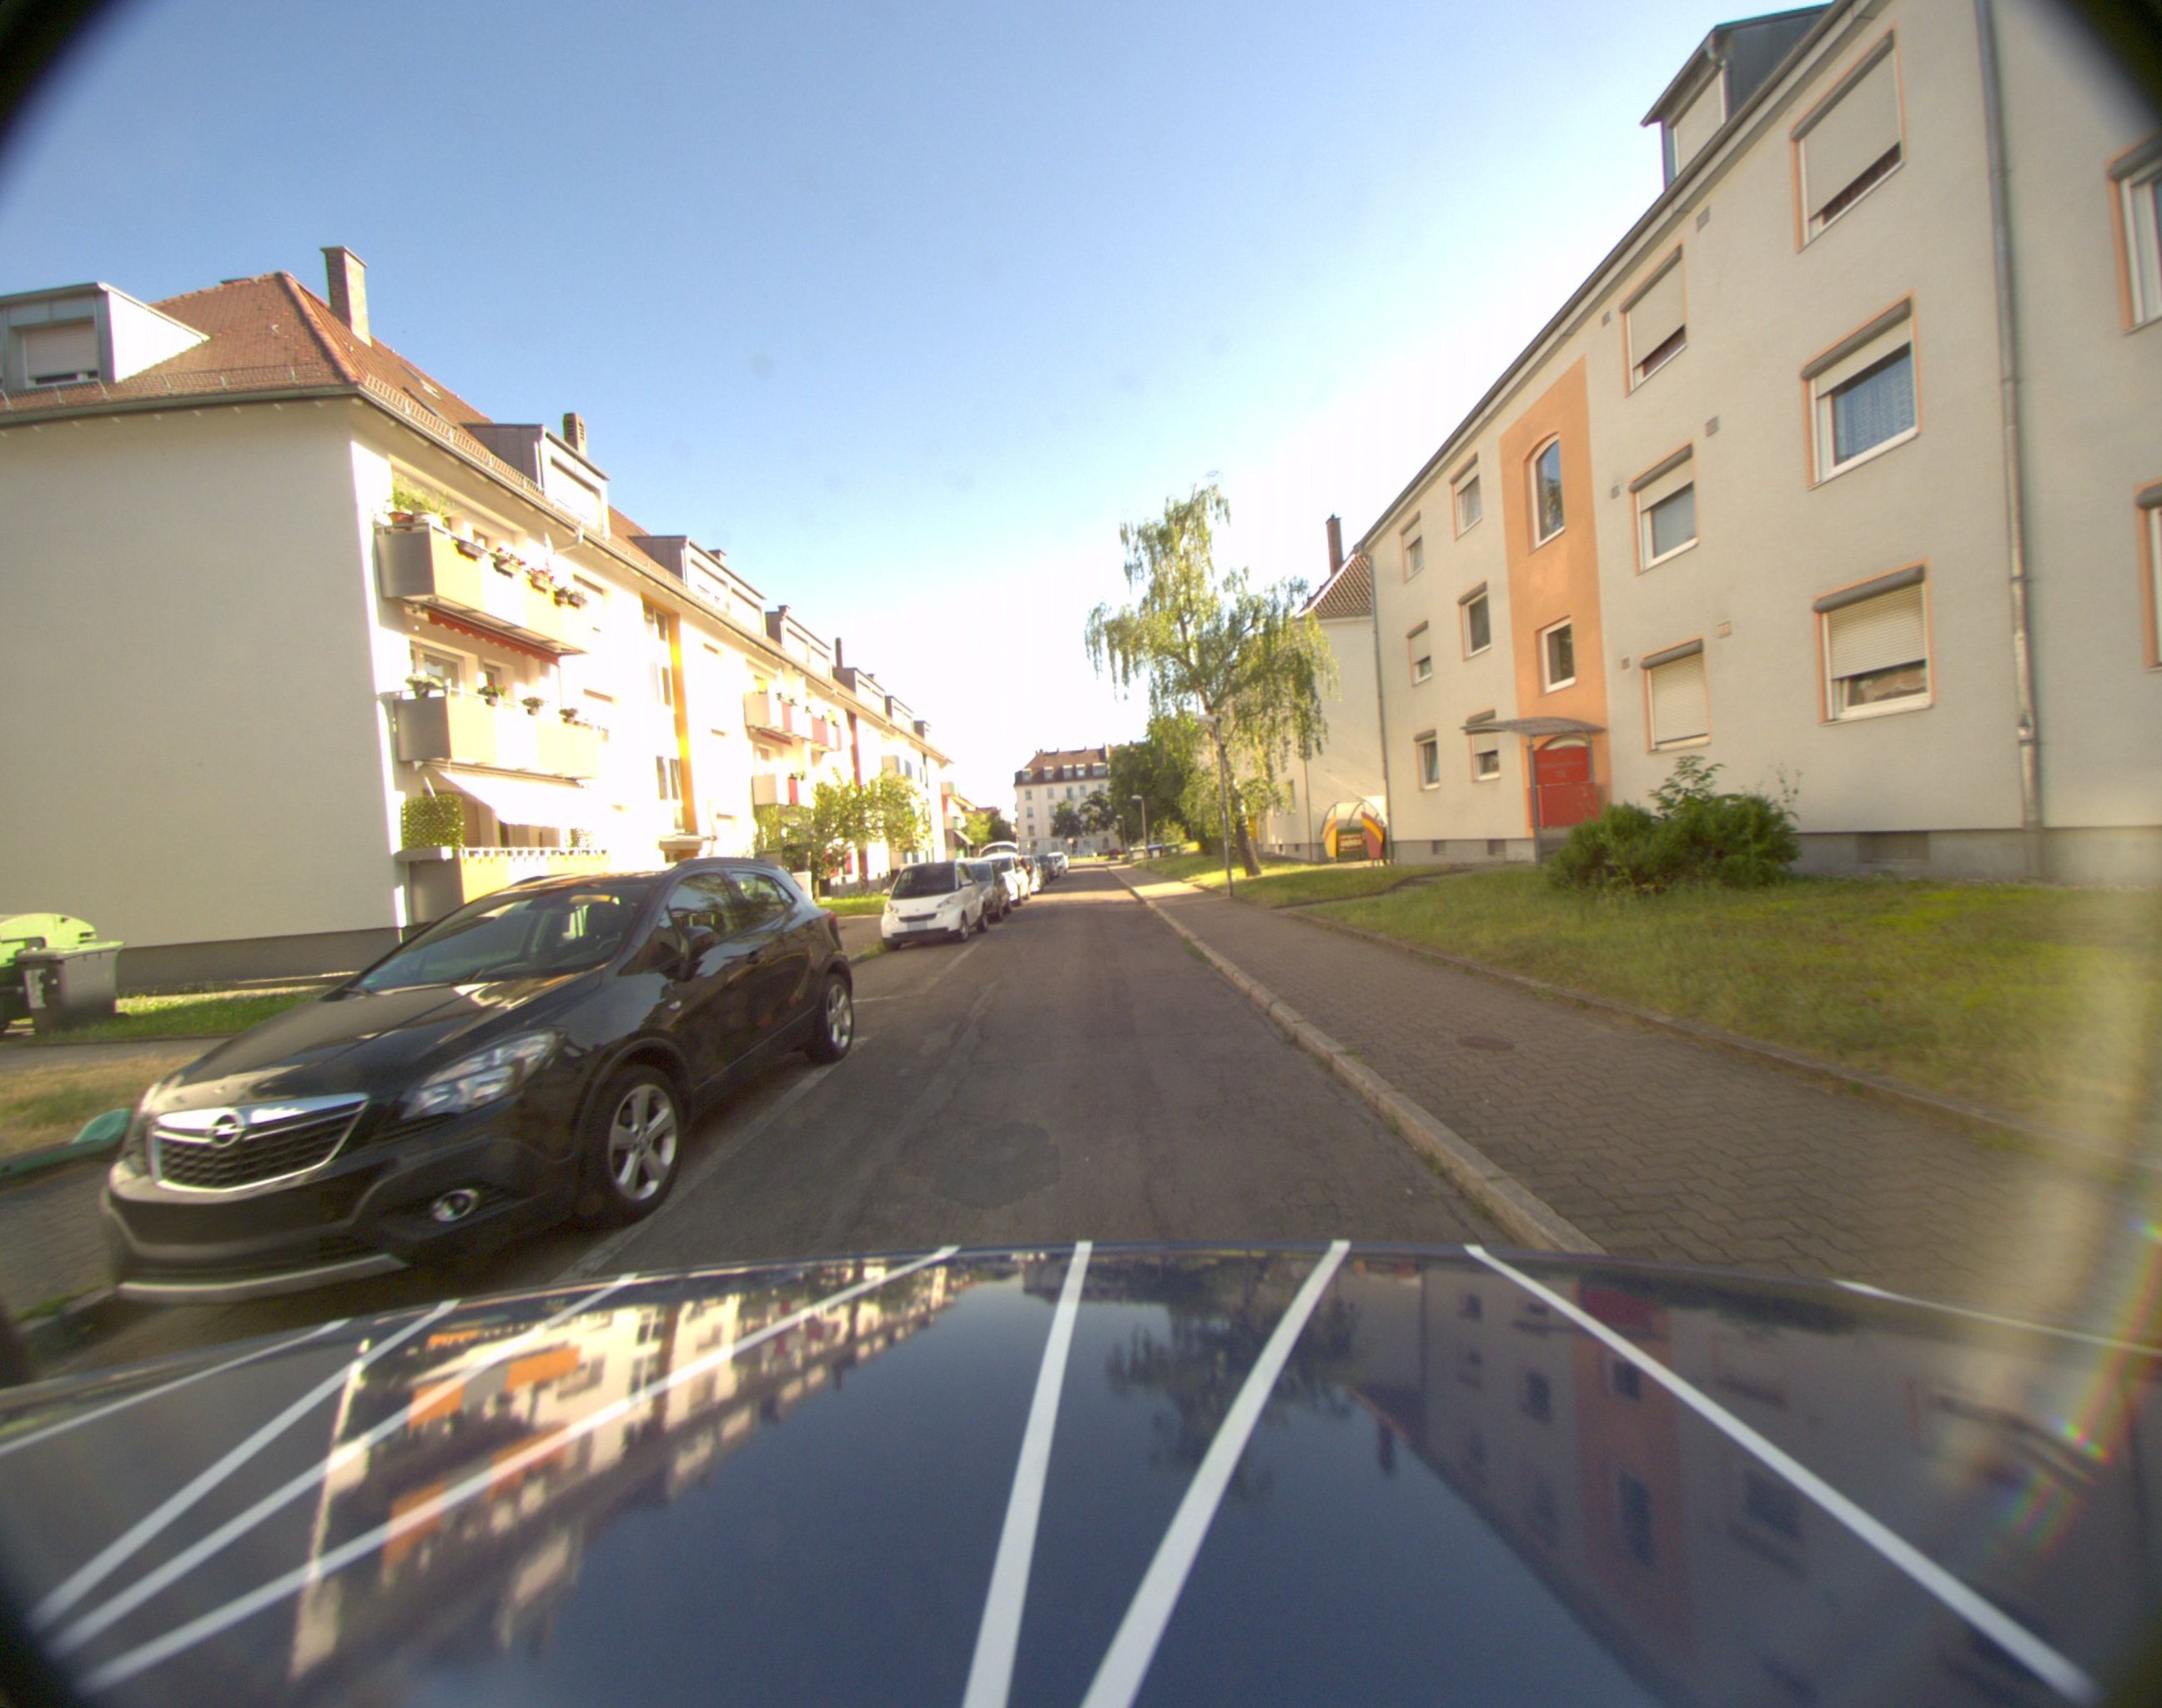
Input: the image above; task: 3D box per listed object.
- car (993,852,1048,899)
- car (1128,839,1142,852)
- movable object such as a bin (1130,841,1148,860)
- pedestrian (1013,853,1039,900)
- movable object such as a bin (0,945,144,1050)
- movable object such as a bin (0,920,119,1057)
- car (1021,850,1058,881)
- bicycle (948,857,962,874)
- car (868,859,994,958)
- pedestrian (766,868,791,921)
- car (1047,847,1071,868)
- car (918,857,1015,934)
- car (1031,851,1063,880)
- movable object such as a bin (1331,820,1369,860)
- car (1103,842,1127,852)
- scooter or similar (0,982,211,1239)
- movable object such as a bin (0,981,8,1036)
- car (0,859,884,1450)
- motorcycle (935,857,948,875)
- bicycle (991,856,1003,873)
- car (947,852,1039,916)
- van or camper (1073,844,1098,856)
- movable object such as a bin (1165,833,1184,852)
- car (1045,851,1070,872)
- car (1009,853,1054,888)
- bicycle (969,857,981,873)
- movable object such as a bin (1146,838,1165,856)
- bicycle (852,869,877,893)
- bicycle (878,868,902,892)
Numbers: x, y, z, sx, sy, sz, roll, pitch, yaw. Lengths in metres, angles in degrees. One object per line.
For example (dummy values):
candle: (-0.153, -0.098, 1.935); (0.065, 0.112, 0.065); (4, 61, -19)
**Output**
car: (-2.347, 0.792, 30.380); (1.776, 1.496, 4.479); (-5, 1, -1)
car: (7.106, -1.104, 100.206); (1.678, 1.645, 3.304); (-3, 1, 5)
movable object such as a bin: (5.147, -0.310, 67.193); (1.318, 1.451, 1.198); (-8, 1, 1)
pedestrian: (-1.903, 0.761, 26.409); (0.741, 1.566, 0.879); (-3, 1, 0)
movable object such as a bin: (-11.838, 1.660, 8.905); (0.644, 1.029, 0.757); (-3, 3, 1)
movable object such as a bin: (-12.842, 1.588, 8.999); (1.331, 1.399, 1.106); (-3, 3, 1)
car: (-2.307, 0.617, 43.246); (1.728, 1.569, 4.352); (-4, 1, 0)
bicycle: (-8.990, 0.825, 54.191); (0.598, 1.109, 1.872); (-4, 1, 0)
car: (-2.810, 0.968, 14.788); (1.483, 1.520, 2.941); (-6, 1, 5)
pedestrian: (-8.916, 1.192, 22.426); (0.451, 1.487, 0.360); (-4, 3, 2)
car: (-1.844, 0.283, 65.922); (1.805, 1.583, 4.580); (-6, 1, 0)
car: (-2.737, 0.941, 19.058); (1.698, 1.482, 3.983); (-6, 1, 0)
car: (-2.144, 0.684, 48.550); (1.717, 1.501, 3.852); (-7, 1, 0)
movable object such as a bin: (10.344, -0.537, 29.253); (1.087, 1.398, 0.812); (-5, 1, 1)
car: (5.906, -1.286, 132.481); (3.996, 1.477, 1.722); (-4, 1, 3)
scooter or similar: (-5.748, 1.390, 3.978); (0.485, 1.142, 1.589); (-1, 1, 1)
movable object such as a bin: (-14.319, 1.653, 9.070); (1.346, 1.404, 1.055); (-3, 3, 1)
car: (-2.815, 0.980, 4.609); (1.787, 1.638, 4.468); (-6, 1, 2)
motorcycle: (-9.989, 0.828, 54.382); (0.442, 1.231, 1.976); (-3, 1, 1)
bicycle: (-5.889, 0.731, 53.341); (0.546, 1.164, 1.873); (-3, 1, 2)
car: (-2.677, 0.861, 24.381); (1.998, 1.603, 4.995); (-6, 1, 3)
van or camper: (0.758, -0.714, 132.839); (4.355, 1.852, 1.999); (-4, 1, -1)
movable object such as a bin: (8.251, -1.003, 67.233); (1.363, 1.445, 1.072); (-9, 1, 1)
car: (-1.821, 0.597, 60.617); (1.695, 1.410, 4.097); (-7, 1, 0)
car: (-2.446, 0.788, 38.602); (1.650, 1.441, 4.060); (-6, 1, 3)
bicycle: (-7.545, 0.770, 54.142); (0.545, 1.114, 1.872); (-3, 1, 0)
movable object such as a bin: (6.613, -0.621, 67.237); (1.358, 1.451, 1.082); (-9, 1, 1)
bicycle: (-10.498, 1.307, 36.869); (0.521, 1.031, 1.975); (-3, 1, 1)
bicycle: (-9.204, 1.221, 36.720); (0.521, 1.043, 2.288); (-2, 1, 1)
